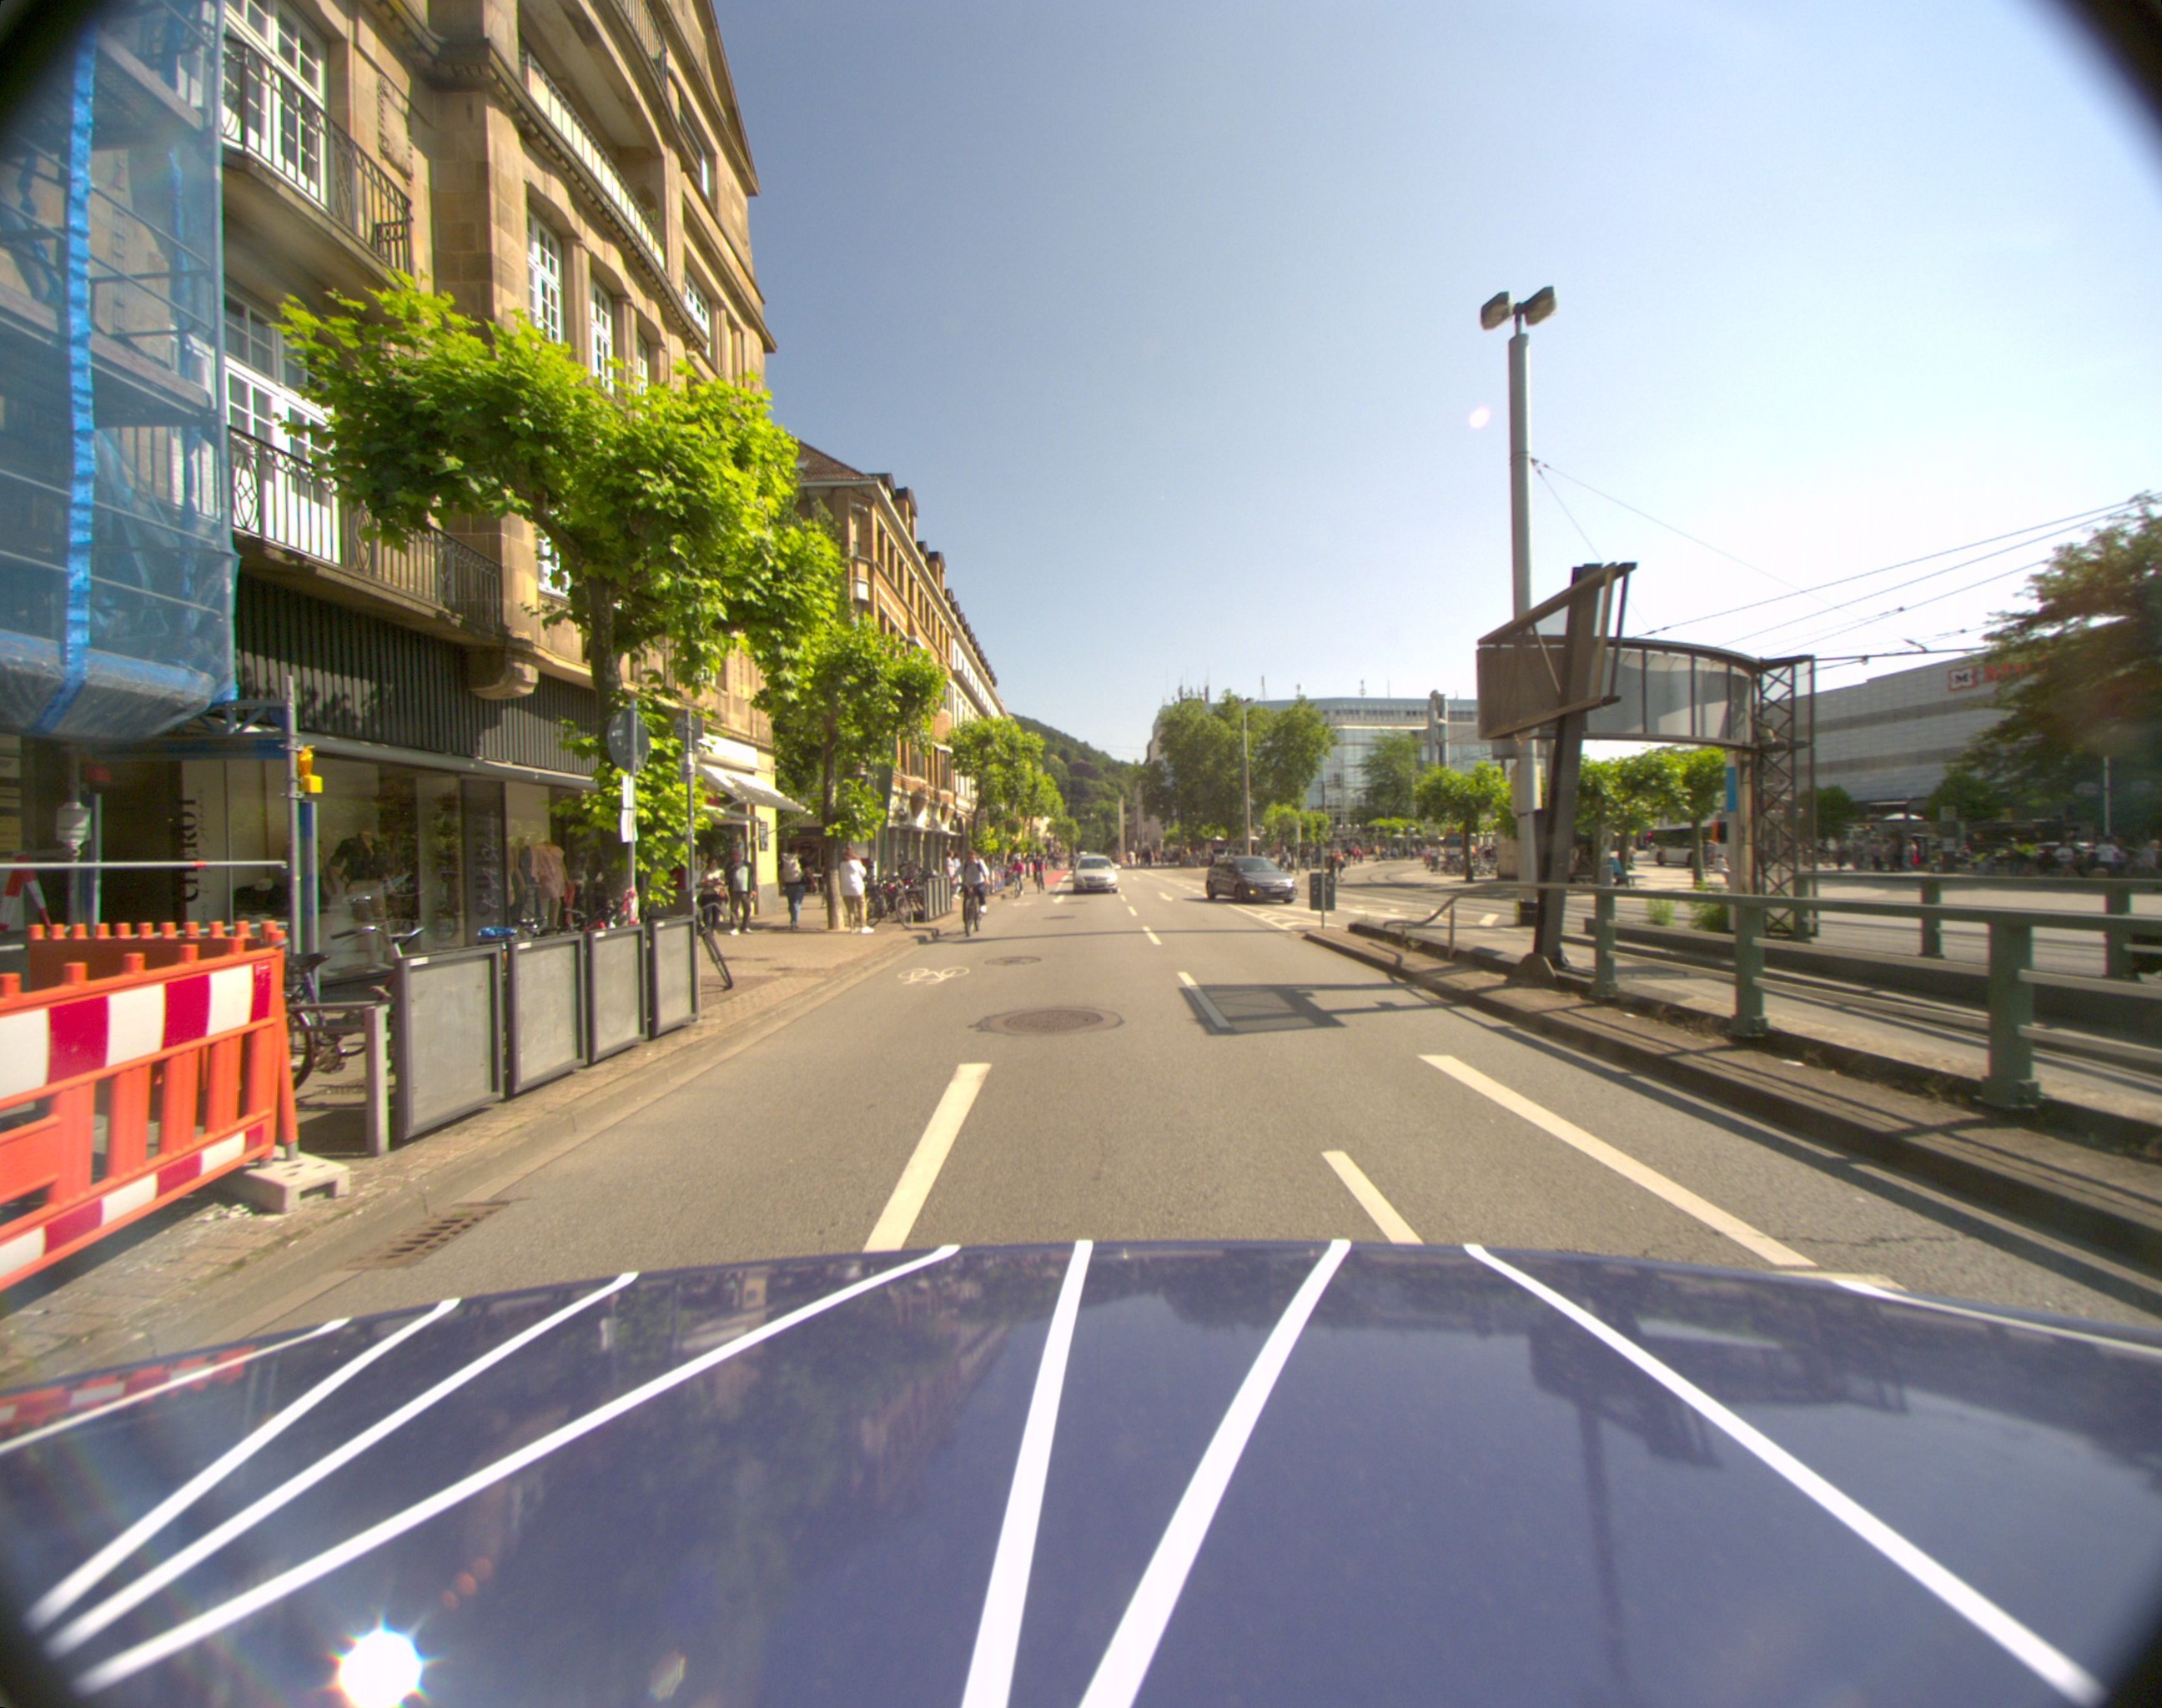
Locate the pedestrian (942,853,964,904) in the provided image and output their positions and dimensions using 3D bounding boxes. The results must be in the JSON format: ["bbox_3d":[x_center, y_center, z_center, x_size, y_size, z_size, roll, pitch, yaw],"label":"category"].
[{"bbox_3d":[-4.155,0.774,24.732,0.601,1.616,0.644,2,0,-4],"label":"pedestrian"}]

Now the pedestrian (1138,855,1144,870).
[{"bbox_3d":[6.804,0.932,86.291,0.612,1.737,0.752,-1,1,-1],"label":"pedestrian"}]

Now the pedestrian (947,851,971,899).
[{"bbox_3d":[-4.166,0.703,25.925,0.697,1.617,0.702,1,1,-1],"label":"pedestrian"}]

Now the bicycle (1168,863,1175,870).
[{"bbox_3d":[14.005,1.931,117.441,0.592,1.140,1.757,-1,0,-7],"label":"bicycle"}]

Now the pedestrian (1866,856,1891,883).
[{"bbox_3d":[44.664,0.853,42.553,0.625,1.457,0.680,2,0,-4],"label":"pedestrian"}]

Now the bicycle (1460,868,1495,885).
[{"bbox_3d":[23.128,1.310,44.343,1.871,0.864,0.581,-2,0,-12],"label":"bicycle"}]

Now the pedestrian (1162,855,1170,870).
[{"bbox_3d":[9.638,0.970,86.349,0.751,1.737,0.667,-2,1,-1],"label":"pedestrian"}]

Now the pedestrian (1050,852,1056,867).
[{"bbox_3d":[-3.092,0.576,83.507,0.578,1.675,0.622,-2,1,-2],"label":"pedestrian"}]

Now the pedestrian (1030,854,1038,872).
[{"bbox_3d":[-4.055,0.812,66.164,0.606,1.529,0.667,-2,1,-1],"label":"pedestrian"}]

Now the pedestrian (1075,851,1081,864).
[{"bbox_3d":[-0.389,0.441,92.254,0.546,1.488,0.637,5,0,-7],"label":"pedestrian"}]

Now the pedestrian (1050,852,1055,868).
[{"bbox_3d":[-3.177,0.667,84.461,0.578,1.774,0.699,1,0,-2],"label":"pedestrian"}]

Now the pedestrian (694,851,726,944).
[{"bbox_3d":[-6.870,0.789,14.073,0.477,1.673,0.381,0,1,-32],"label":"pedestrian"}]

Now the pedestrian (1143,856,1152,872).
[{"bbox_3d":[7.061,1.031,80.938,0.630,1.639,0.753,-2,1,27],"label":"pedestrian"}]

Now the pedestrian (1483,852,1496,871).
[{"bbox_3d":[34.813,0.672,64.775,0.626,1.588,0.679,2,0,-22],"label":"pedestrian"}]

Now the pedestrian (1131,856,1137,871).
[{"bbox_3d":[6.792,1.168,96.558,0.639,1.903,0.733,-2,1,-1],"label":"pedestrian"}]

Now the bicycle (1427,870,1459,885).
[{"bbox_3d":[22.828,1.478,47.885,1.871,0.851,0.546,-2,0,-12],"label":"bicycle"}]

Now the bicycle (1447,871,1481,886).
[{"bbox_3d":[23.048,1.476,45.725,1.871,0.851,0.546,-2,0,-12],"label":"bicycle"}]

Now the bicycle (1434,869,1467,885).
[{"bbox_3d":[22.956,1.437,47.241,1.871,0.867,0.583,-2,0,-12],"label":"bicycle"}]

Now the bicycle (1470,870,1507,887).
[{"bbox_3d":[22.912,1.396,42.711,1.871,0.864,0.581,-2,0,-12],"label":"bicycle"}]

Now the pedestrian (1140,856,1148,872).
[{"bbox_3d":[6.897,1.096,82.801,0.537,1.773,0.745,-2,1,35],"label":"pedestrian"}]

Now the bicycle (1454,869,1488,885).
[{"bbox_3d":[23.147,1.376,45.101,1.871,0.851,0.546,-2,0,-12],"label":"bicycle"}]

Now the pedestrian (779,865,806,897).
[{"bbox_3d":[-11.664,1.073,30.727,0.792,1.247,0.640,-2,1,4],"label":"pedestrian"}]

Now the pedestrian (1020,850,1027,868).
[{"bbox_3d":[-5.719,0.469,75.608,0.635,1.782,0.776,-2,1,-1],"label":"pedestrian"}]

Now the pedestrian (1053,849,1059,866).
[{"bbox_3d":[-2.678,0.395,80.940,0.578,1.835,0.717,-2,1,-2],"label":"pedestrian"}]

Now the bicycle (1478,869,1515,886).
[{"bbox_3d":[23.023,1.315,42.129,1.871,0.864,0.581,-2,0,-12],"label":"bicycle"}]

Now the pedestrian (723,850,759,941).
[{"bbox_3d":[-6.425,0.775,14.359,0.538,1.673,0.498,1,1,-32],"label":"pedestrian"}]

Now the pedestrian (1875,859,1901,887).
[{"bbox_3d":[42.877,0.992,40.373,0.625,1.457,0.680,2,0,-4],"label":"pedestrian"}]

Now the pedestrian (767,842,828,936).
[{"bbox_3d":[-5.806,0.692,15.591,0.816,1.838,0.892,1,1,8],"label":"pedestrian"}]

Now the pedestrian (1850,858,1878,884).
[{"bbox_3d":[44.856,0.978,43.526,0.789,1.457,0.742,2,0,-4],"label":"pedestrian"}]

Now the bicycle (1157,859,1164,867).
[{"bbox_3d":[11.831,1.364,112.805,0.729,1.137,1.914,-2,0,14],"label":"bicycle"}]

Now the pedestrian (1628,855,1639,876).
[{"bbox_3d":[38.556,0.780,53.026,0.453,1.457,0.411,2,0,-34],"label":"pedestrian"}]

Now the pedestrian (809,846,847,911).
[{"bbox_3d":[-7.066,0.675,21.240,0.669,1.771,0.985,0,1,5],"label":"pedestrian"}]

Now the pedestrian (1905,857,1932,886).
[{"bbox_3d":[43.392,0.902,39.373,0.625,1.457,0.680,2,0,-4],"label":"pedestrian"}]

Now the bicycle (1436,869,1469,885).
[{"bbox_3d":[22.831,1.405,46.749,1.871,0.851,0.546,-2,0,-12],"label":"bicycle"}]

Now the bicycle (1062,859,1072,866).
[{"bbox_3d":[-2.273,1.355,123.624,1.757,1.140,0.592,-1,0,-1],"label":"bicycle"}]

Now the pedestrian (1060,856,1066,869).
[{"bbox_3d":[-2.401,1.102,100.917,0.650,1.770,0.622,1,2,-3],"label":"pedestrian"}]

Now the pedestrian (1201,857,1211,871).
[{"bbox_3d":[13.454,1.082,81.838,0.752,1.399,0.782,-2,1,-9],"label":"pedestrian"}]

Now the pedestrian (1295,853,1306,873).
[{"bbox_3d":[19.397,0.803,67.089,0.626,1.783,0.678,2,0,-41],"label":"pedestrian"}]

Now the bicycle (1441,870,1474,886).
[{"bbox_3d":[22.950,1.463,46.286,1.871,0.851,0.546,-2,0,-12],"label":"bicycle"}]

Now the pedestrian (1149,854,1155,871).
[{"bbox_3d":[7.617,0.918,81.772,0.517,1.825,0.716,-2,1,8],"label":"pedestrian"}]

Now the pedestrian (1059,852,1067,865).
[{"bbox_3d":[-2.146,0.507,90.439,0.672,1.488,0.637,-2,1,-13],"label":"pedestrian"}]

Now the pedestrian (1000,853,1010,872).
[{"bbox_3d":[-6.668,0.742,66.609,0.658,1.686,0.676,-2,1,2],"label":"pedestrian"}]

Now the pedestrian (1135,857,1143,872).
[{"bbox_3d":[6.909,1.214,90.903,0.876,1.737,0.733,-2,1,-1],"label":"pedestrian"}]

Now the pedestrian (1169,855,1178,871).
[{"bbox_3d":[9.465,0.921,77.650,0.643,1.681,0.642,-2,1,-13],"label":"pedestrian"}]

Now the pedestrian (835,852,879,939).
[{"bbox_3d":[-4.402,0.798,14.958,0.658,1.673,0.653,0,1,-2],"label":"pedestrian"}]
